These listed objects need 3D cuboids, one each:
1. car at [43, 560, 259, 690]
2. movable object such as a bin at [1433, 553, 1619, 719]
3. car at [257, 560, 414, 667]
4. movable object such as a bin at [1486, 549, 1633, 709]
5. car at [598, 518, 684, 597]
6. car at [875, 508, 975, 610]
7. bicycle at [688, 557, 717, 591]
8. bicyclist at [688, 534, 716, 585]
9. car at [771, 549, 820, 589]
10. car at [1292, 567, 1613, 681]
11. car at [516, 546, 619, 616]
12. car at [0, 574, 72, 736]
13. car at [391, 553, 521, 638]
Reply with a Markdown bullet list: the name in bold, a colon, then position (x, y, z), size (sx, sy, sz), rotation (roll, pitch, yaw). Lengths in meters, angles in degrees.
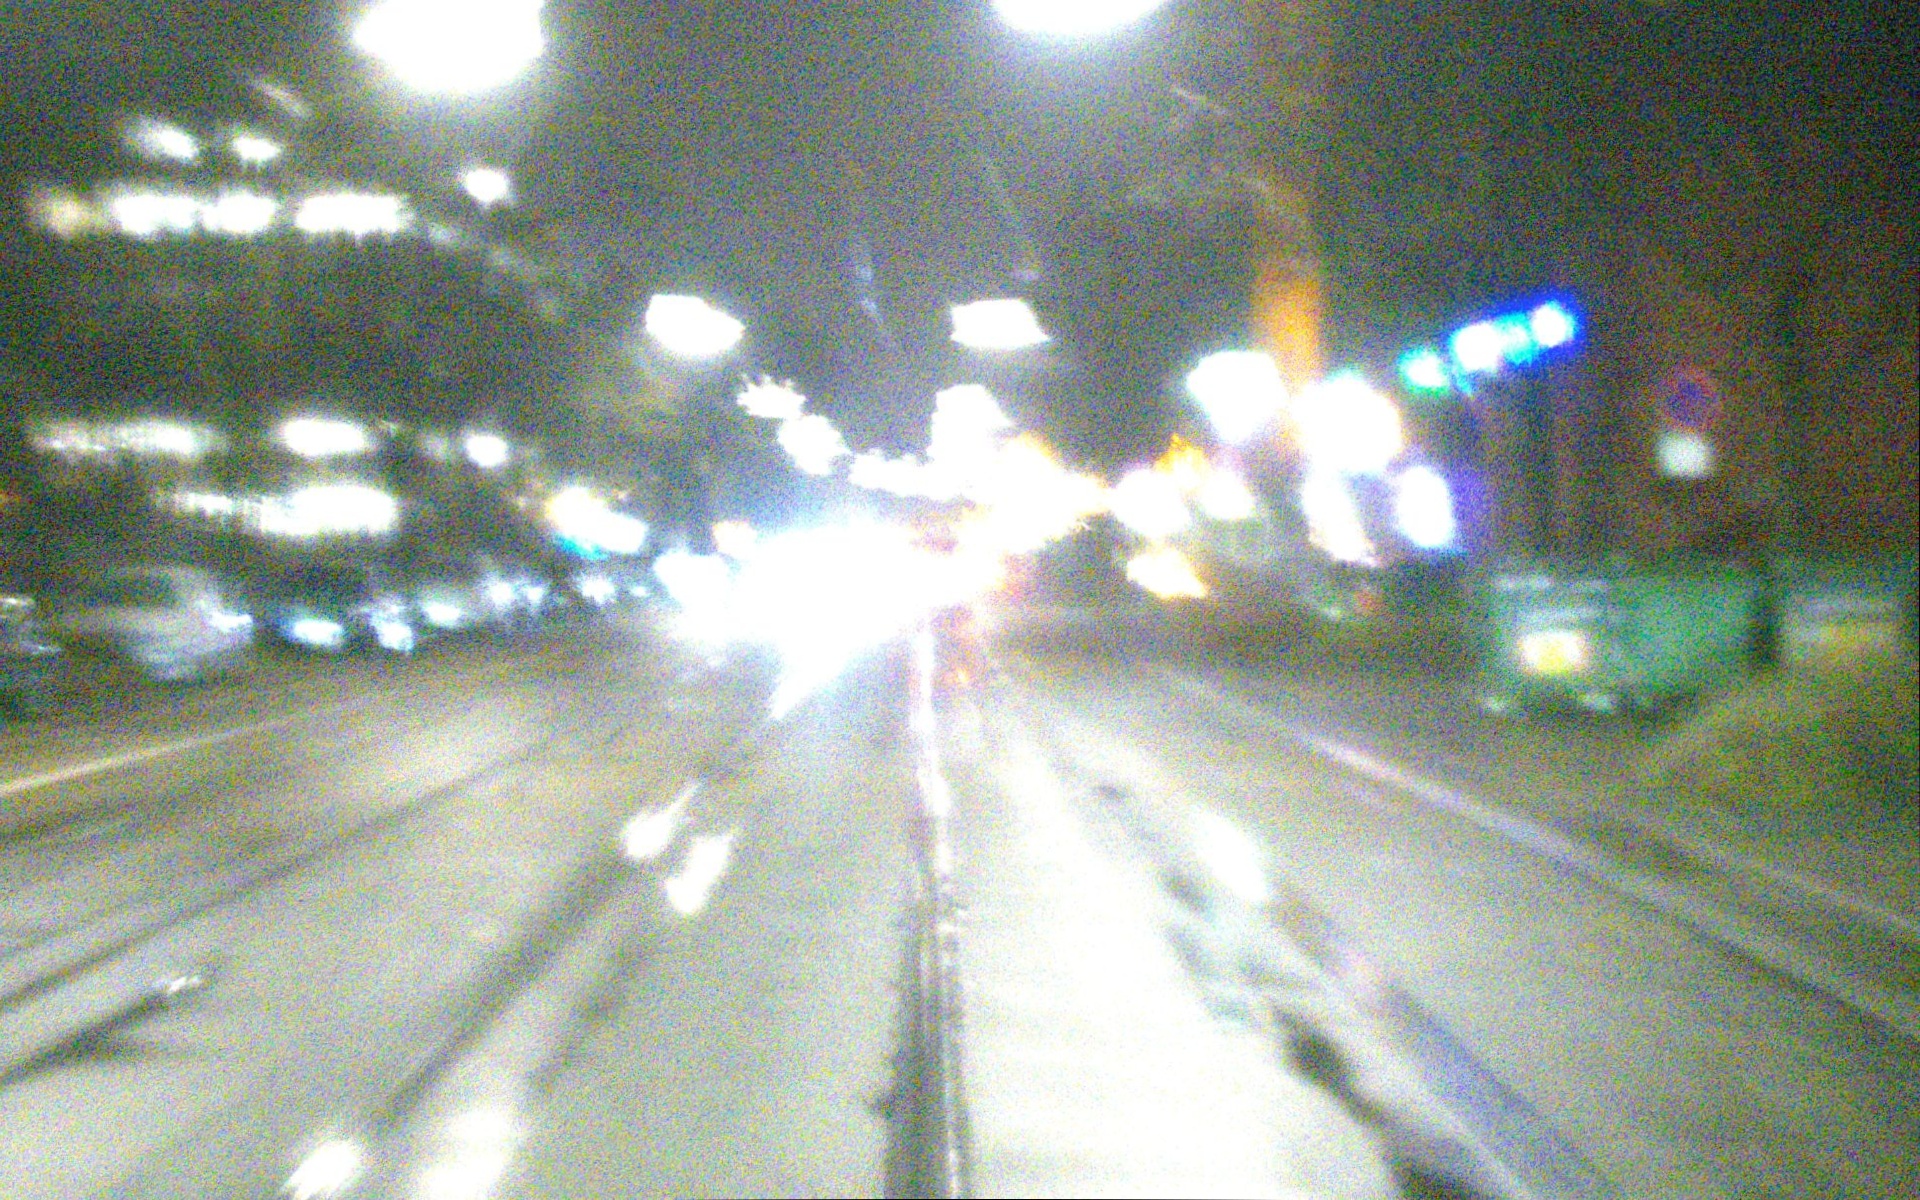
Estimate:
- **car**: position (-9.959, 0.262, 42.668), size (1.887, 1.458, 4.961), rotation (-1, 1, -5)
- **movable object such as a bin**: position (5.026, 0.310, 30.608), size (1.321, 1.403, 1.160), rotation (-2, 1, -6)
- **car**: position (-9.909, 0.185, 54.822), size (1.880, 1.540, 4.400), rotation (3, 1, -3)
- **movable object such as a bin**: position (5.541, 0.258, 31.856), size (1.208, 1.417, 1.100), rotation (-2, 1, 5)
- **car**: position (-10.922, -1.496, 118.118), size (2.185, 2.582, 6.392), rotation (0, 2, 2)
- **car**: position (-0.857, -0.977, 81.290), size (2.244, 2.353, 4.394), rotation (0, 1, -2)
- **bicycle**: position (-8.551, -0.854, 114.158), size (0.782, 1.078, 1.918), rotation (-3, 1, 0)
- **bicyclist**: position (-8.573, -1.354, 114.156), size (0.782, 1.650, 1.206), rotation (-3, 1, 0)
- **car**: position (-6.635, -1.265, 138.859), size (1.776, 1.512, 4.051), rotation (0, 1, 0)
- **car**: position (6.981, 0.310, 48.727), size (4.092, 1.532, 1.961), rotation (-1, 1, -26)
- **car**: position (-9.877, -0.504, 86.766), size (1.969, 1.650, 4.601), rotation (2, 1, 1)
- **car**: position (-9.582, 0.506, 31.832), size (1.839, 1.418, 4.210), rotation (-1, 1, -4)
- **car**: position (-10.020, -0.124, 68.606), size (1.983, 1.625, 4.517), rotation (0, 1, -1)
